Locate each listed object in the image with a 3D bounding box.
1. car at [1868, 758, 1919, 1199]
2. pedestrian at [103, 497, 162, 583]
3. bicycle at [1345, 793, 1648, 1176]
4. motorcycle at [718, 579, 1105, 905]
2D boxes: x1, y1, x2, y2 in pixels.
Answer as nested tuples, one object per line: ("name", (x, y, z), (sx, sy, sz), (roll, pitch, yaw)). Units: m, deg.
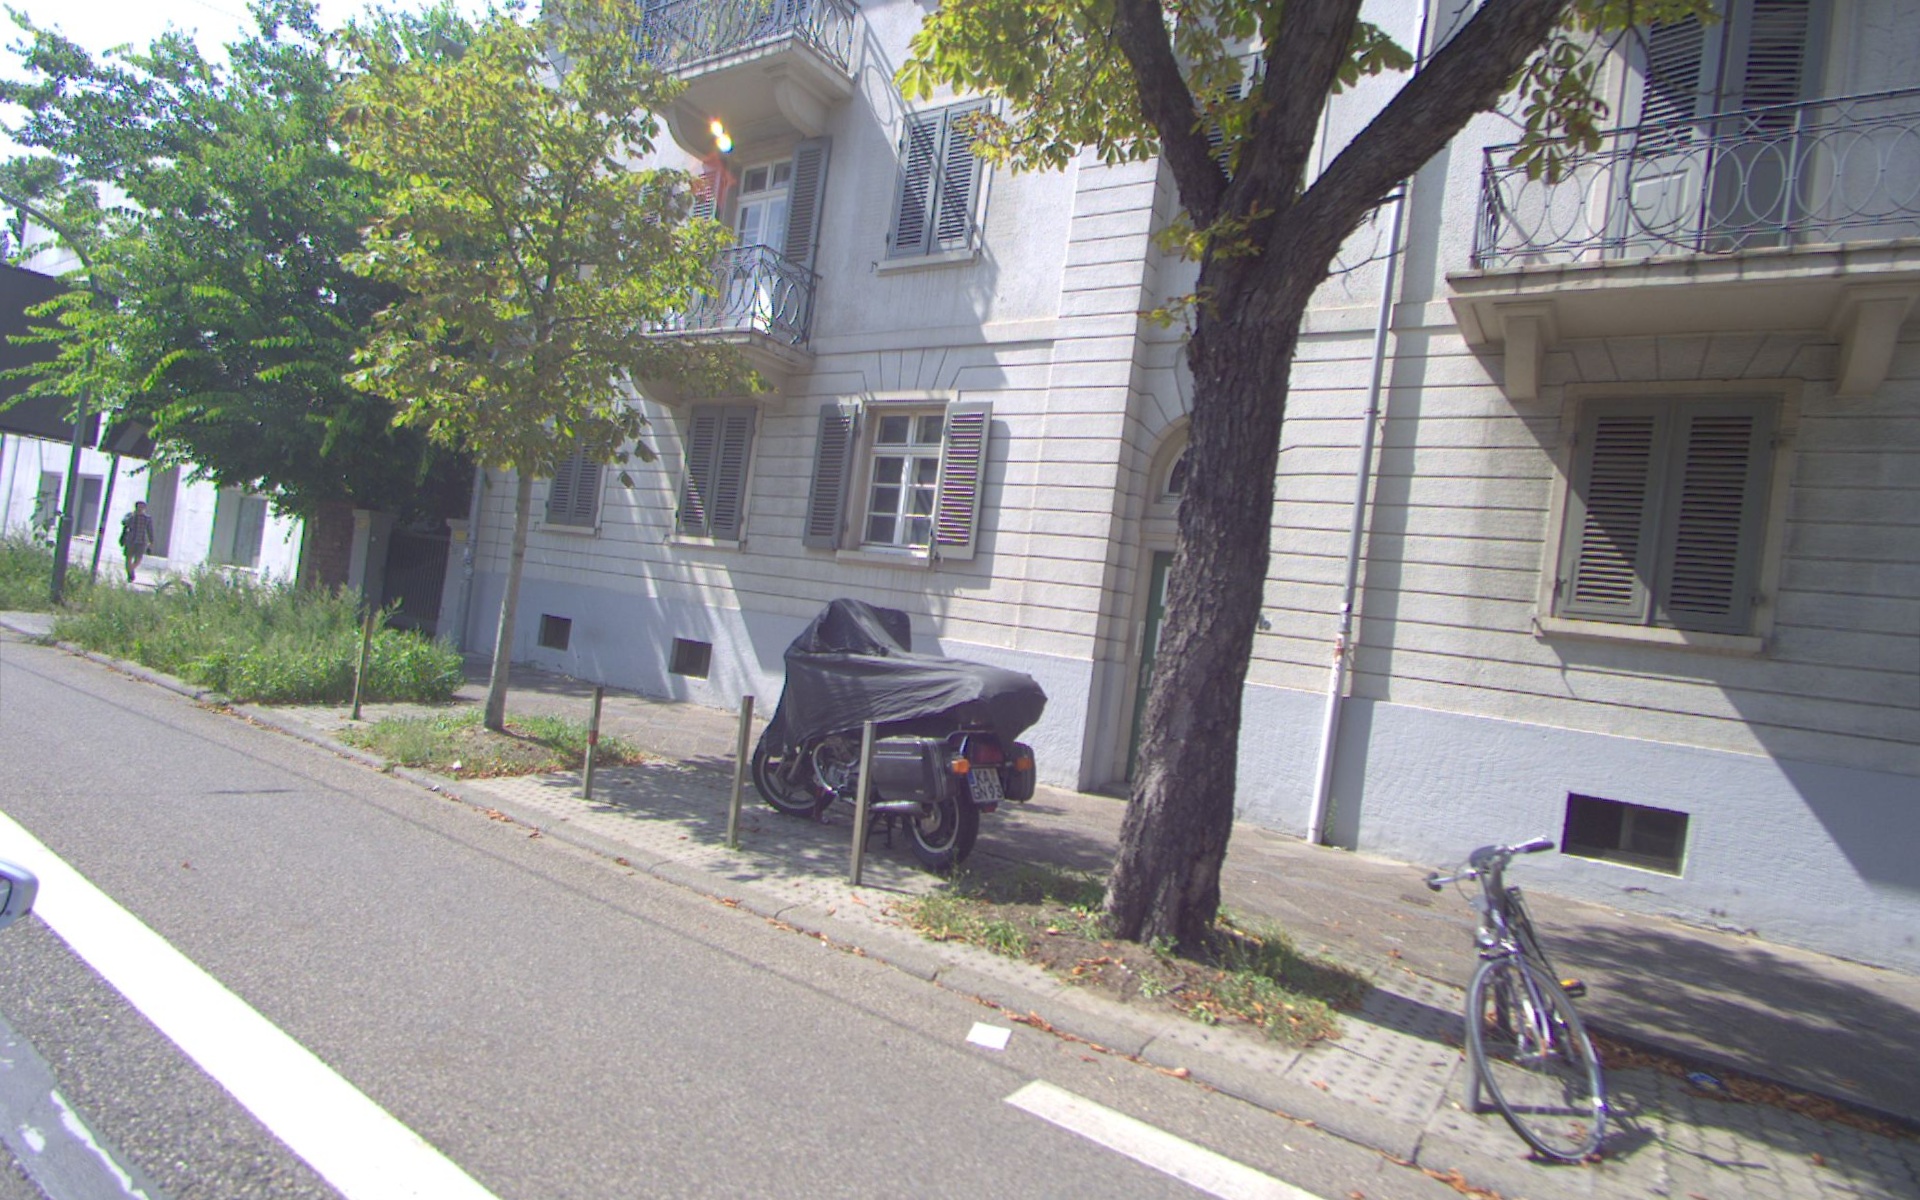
("car", (5.188, 1.508, 1.978), (4.673, 1.468, 1.785), (7, -1, 32))
("pedestrian", (-18.021, -1.299, 21.914), (0.570, 1.752, 0.692), (7, -1, 37))
("bicycle", (2.264, 1.376, 4.091), (0.710, 0.963, 1.924), (7, -2, 37))
("motorcycle", (-0.402, 0.770, 6.392), (2.379, 1.571, 0.884), (6, -1, 43))
